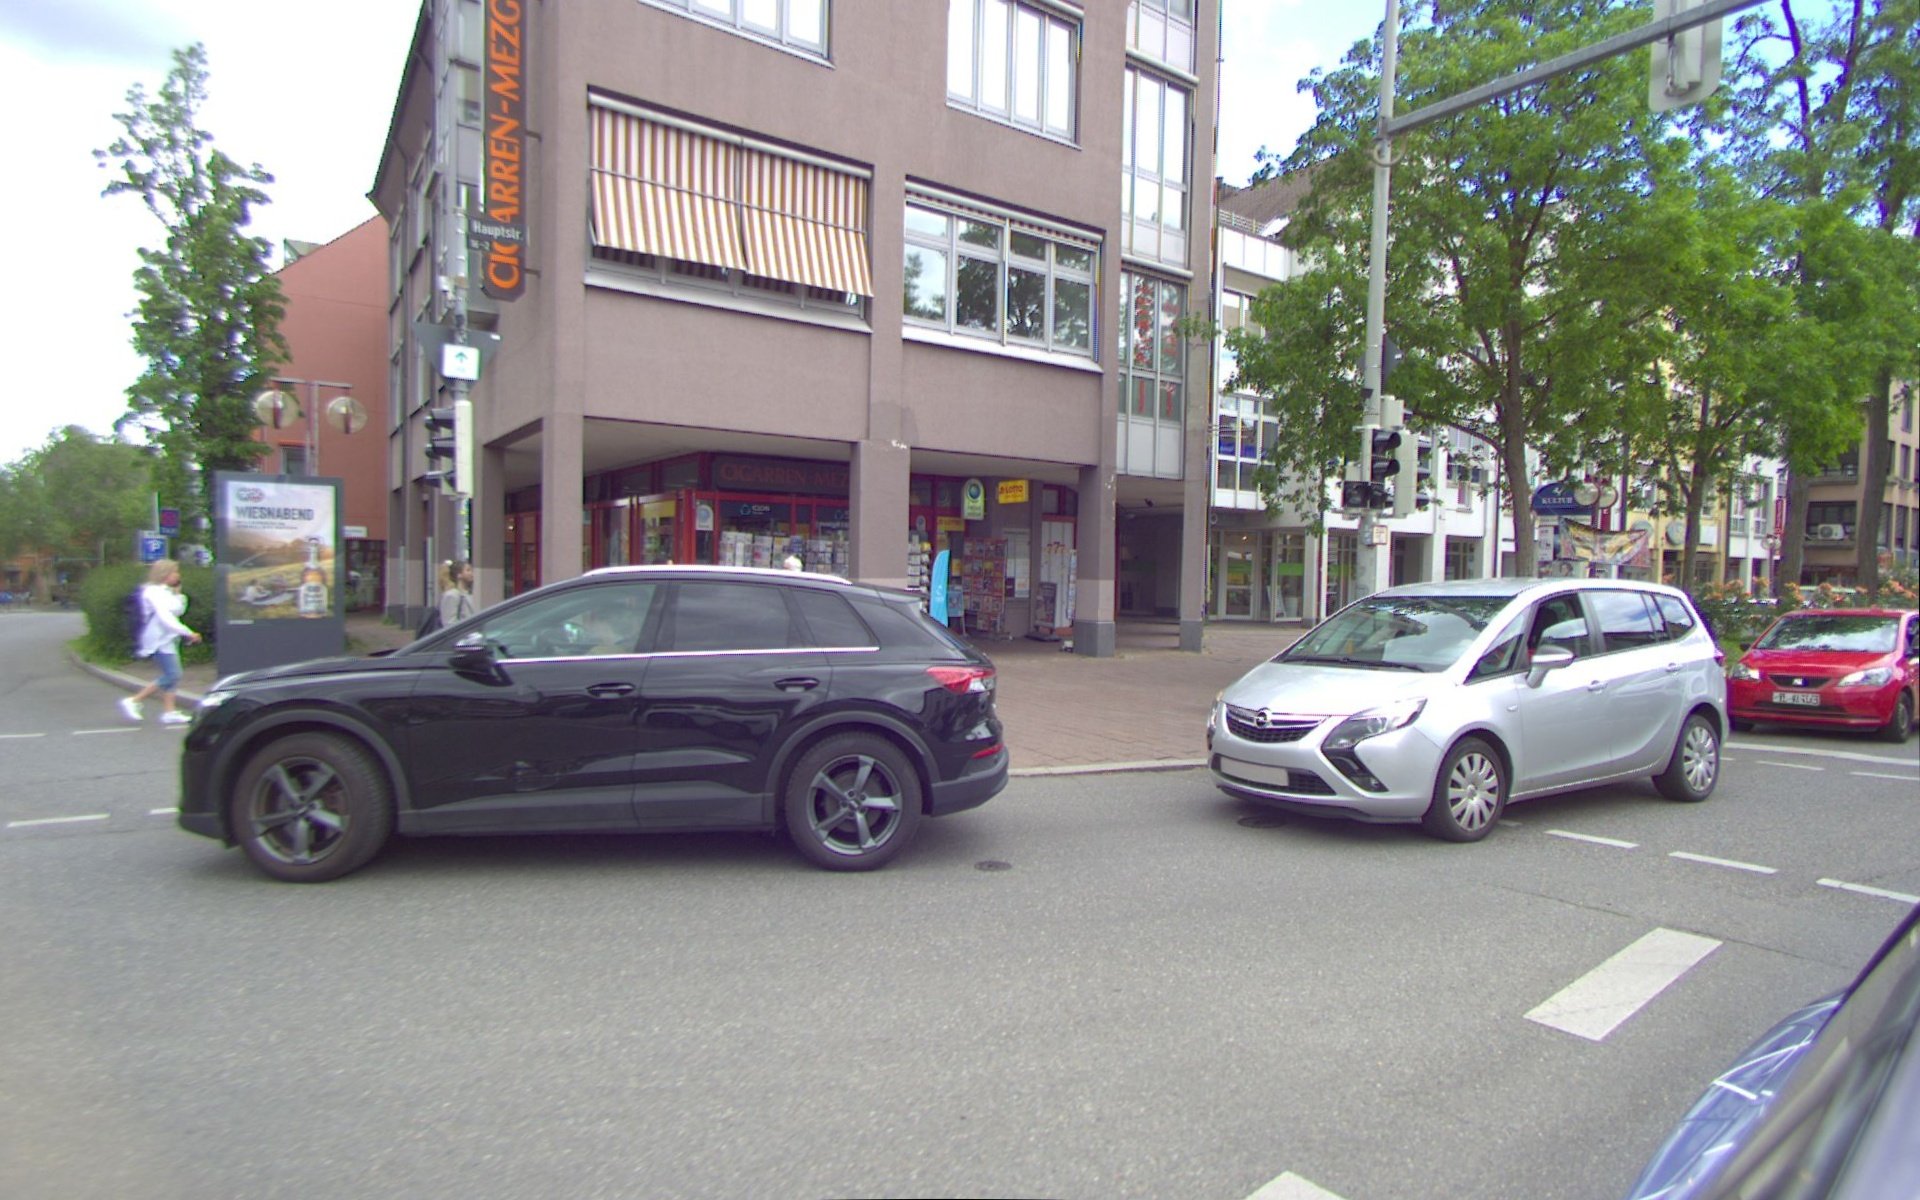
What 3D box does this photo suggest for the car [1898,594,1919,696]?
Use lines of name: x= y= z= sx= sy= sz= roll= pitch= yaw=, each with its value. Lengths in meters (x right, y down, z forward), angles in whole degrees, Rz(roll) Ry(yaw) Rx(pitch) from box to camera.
car: x=16.526 y=0.687 z=15.989 sx=3.925 sy=1.549 sz=1.802 roll=0 pitch=0 yaw=-36

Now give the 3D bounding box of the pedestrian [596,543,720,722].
pedestrian: x=-2.961 y=0.286 z=9.902 sx=0.936 sy=1.646 sz=0.743 roll=0 pitch=2 yaw=-37

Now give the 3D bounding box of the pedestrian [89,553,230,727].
pedestrian: x=-7.858 y=0.353 z=9.987 sx=1.019 sy=1.615 sz=0.824 roll=0 pitch=1 yaw=-34

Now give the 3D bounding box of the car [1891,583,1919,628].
car: x=38.239 y=0.332 z=37.889 sx=1.966 sy=1.699 sz=4.747 roll=1 pitch=3 yaw=-42

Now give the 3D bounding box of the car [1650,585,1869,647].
car: x=23.146 y=0.394 z=29.499 sx=1.706 sy=1.471 sz=4.656 roll=0 pitch=3 yaw=-34

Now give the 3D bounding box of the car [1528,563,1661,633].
car: x=18.078 y=-0.087 z=28.784 sx=4.181 sy=1.826 sz=1.740 roll=0 pitch=3 yaw=-37

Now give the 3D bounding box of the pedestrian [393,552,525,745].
pedestrian: x=-4.559 y=0.401 z=9.198 sx=0.936 sy=1.646 sz=0.743 roll=0 pitch=2 yaw=-37

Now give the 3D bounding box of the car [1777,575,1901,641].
car: x=28.441 y=0.194 z=32.704 sx=4.665 sy=1.899 sz=2.000 roll=-1 pitch=4 yaw=-37

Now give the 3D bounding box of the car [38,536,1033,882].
car: x=-2.105 y=0.527 z=5.997 sx=4.762 sy=1.629 sz=1.860 roll=1 pitch=0 yaw=-7

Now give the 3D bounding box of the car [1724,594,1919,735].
car: x=10.895 y=0.670 z=12.215 sx=3.572 sy=1.466 sz=1.632 roll=0 pitch=0 yaw=-34

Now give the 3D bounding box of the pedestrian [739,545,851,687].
pedestrian: x=-2.016 y=0.173 z=12.381 sx=1.073 sy=1.646 sz=0.811 roll=0 pitch=2 yaw=-36

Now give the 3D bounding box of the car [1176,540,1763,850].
car: x=3.823 y=0.522 z=7.432 sx=4.292 sy=1.722 sz=1.747 roll=0 pitch=0 yaw=-29
